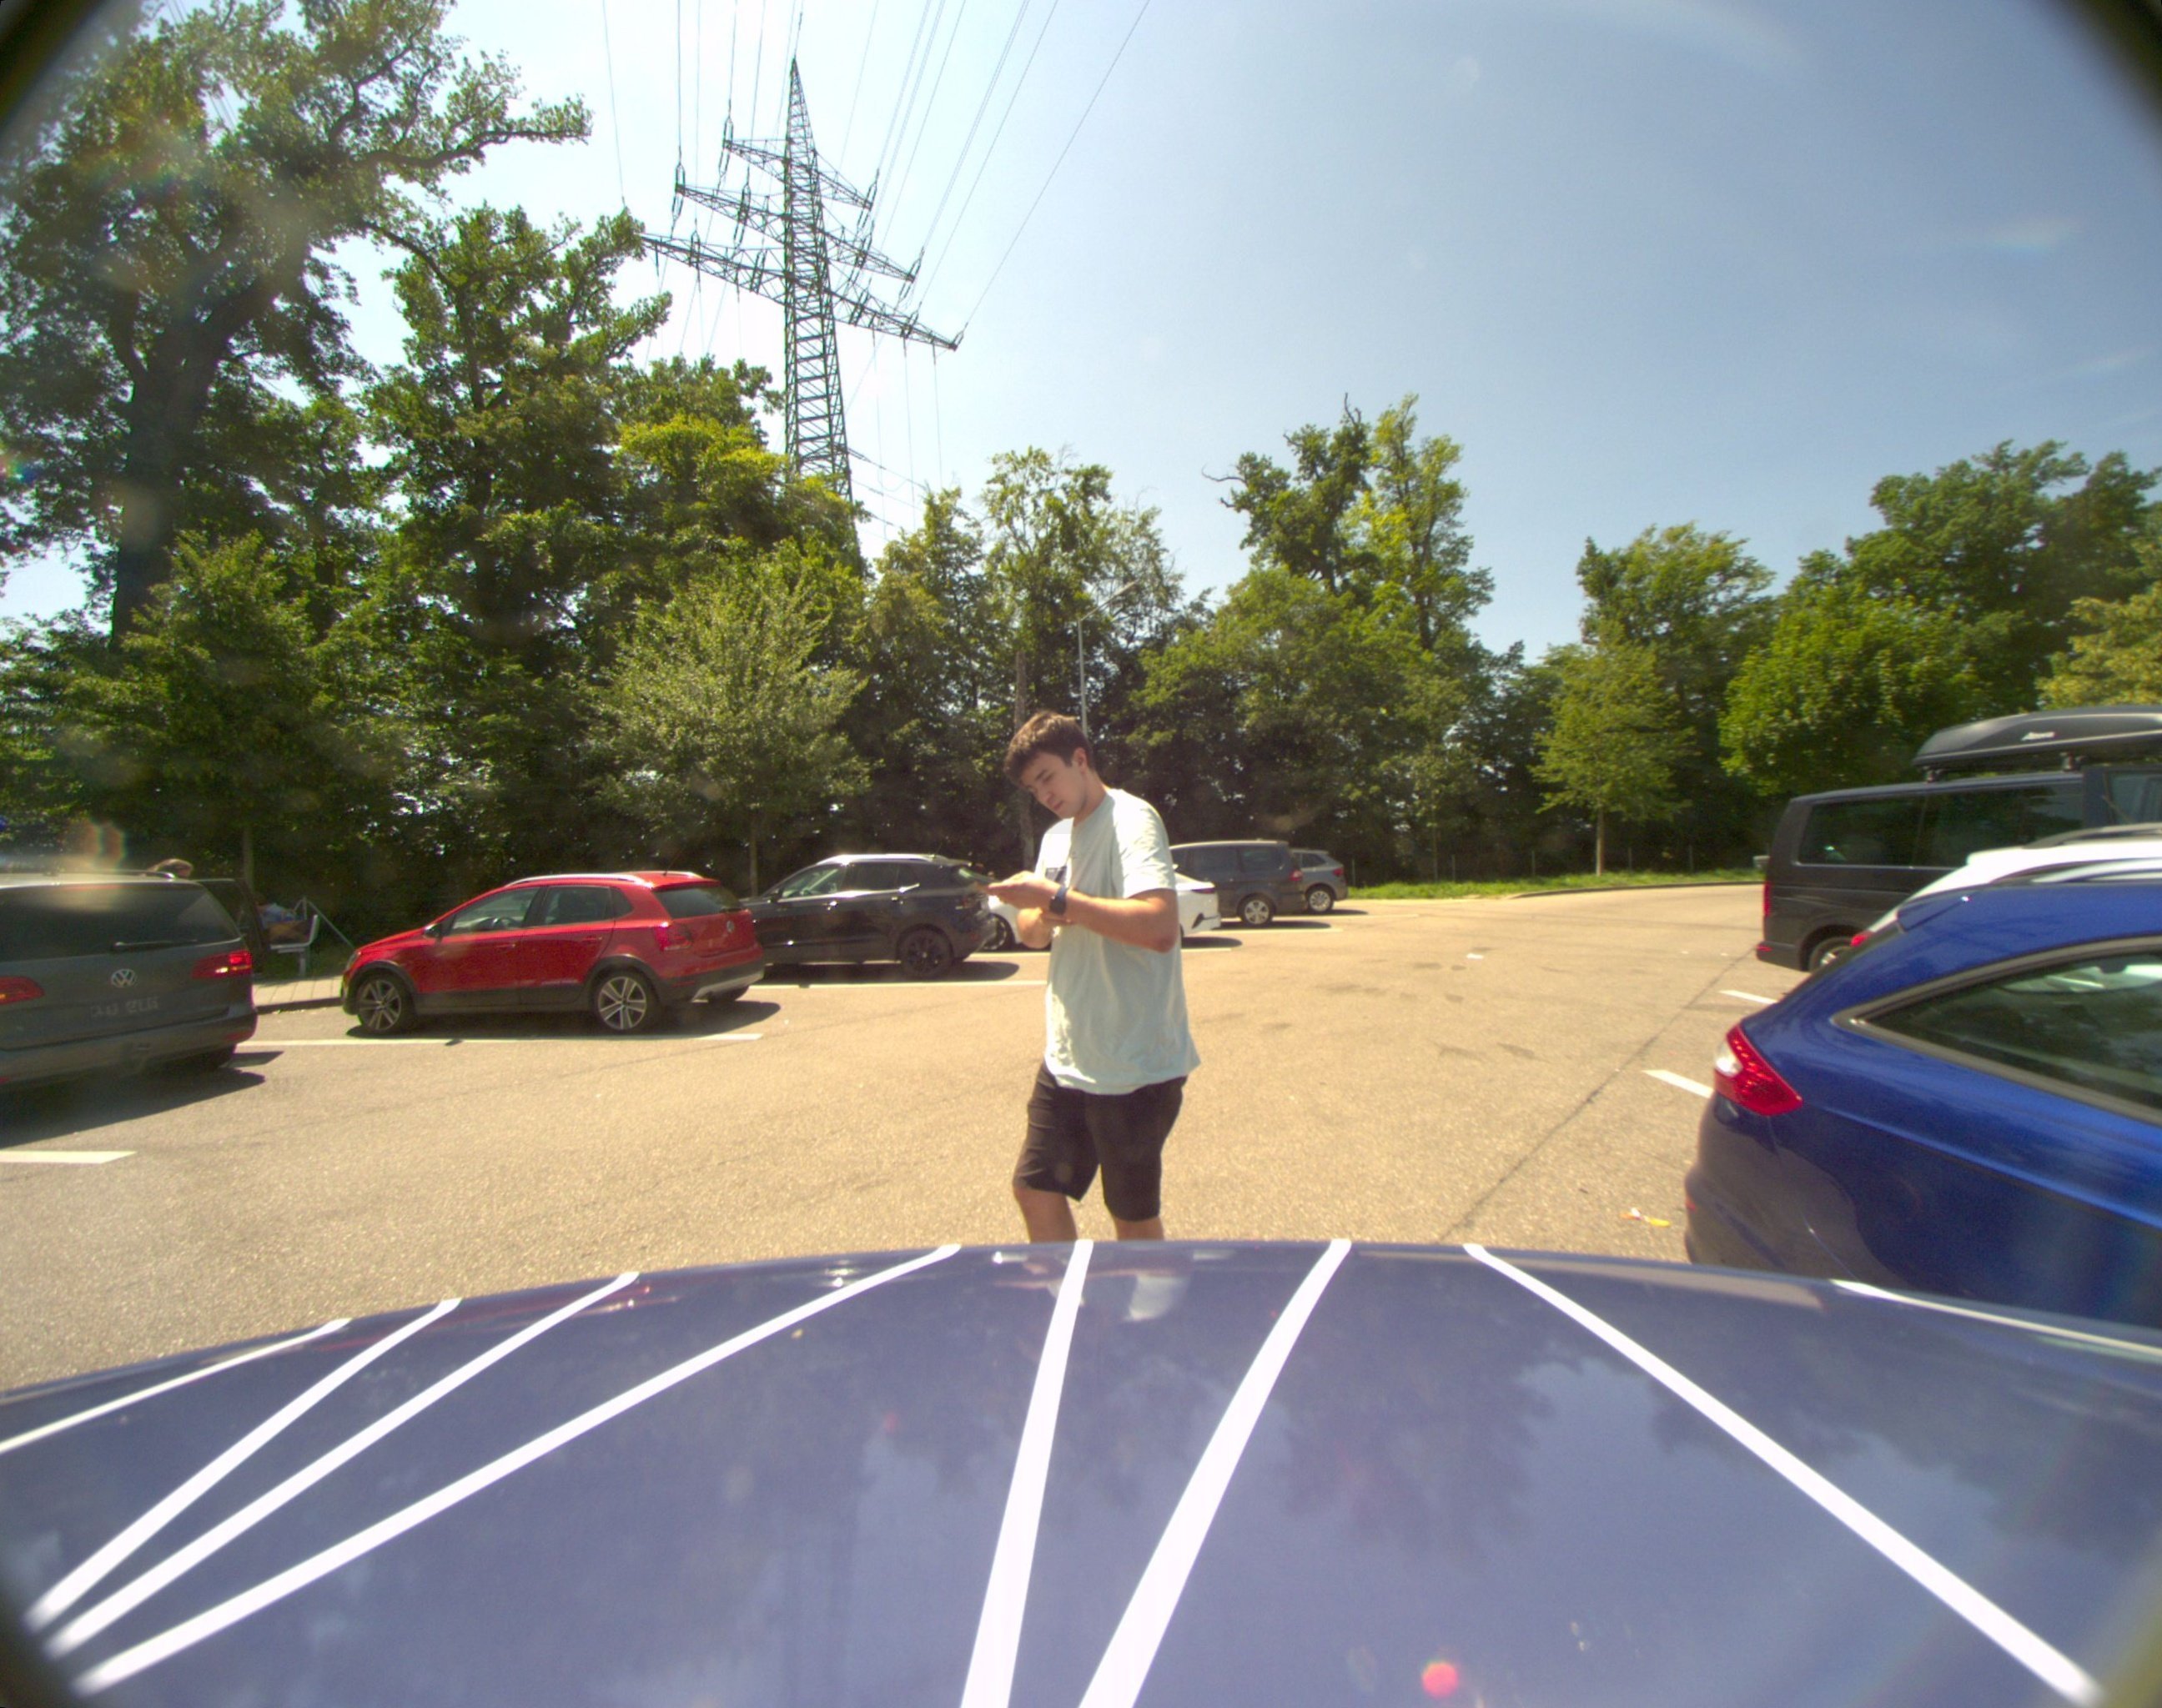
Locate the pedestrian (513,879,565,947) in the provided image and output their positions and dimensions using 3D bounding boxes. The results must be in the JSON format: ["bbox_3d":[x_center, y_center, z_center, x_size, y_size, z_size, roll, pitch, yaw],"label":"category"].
[{"bbox_3d":[-10.920,1.162,15.306,0.782,1.287,0.670,-1,2,45],"label":"pedestrian"}]

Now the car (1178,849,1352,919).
[{"bbox_3d":[4.322,0.689,18.151,3.818,1.530,1.722,-1,1,12],"label":"car"}]

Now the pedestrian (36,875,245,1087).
[{"bbox_3d":[-8.223,1.045,6.708,0.735,1.672,0.918,-3,1,-22],"label":"pedestrian"}]

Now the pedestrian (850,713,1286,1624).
[{"bbox_3d":[0.023,0.646,1.921,0.889,1.831,0.622,-2,1,14],"label":"pedestrian"}]

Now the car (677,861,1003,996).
[{"bbox_3d":[-3.084,0.936,10.257,3.787,1.564,1.721,-1,1,2],"label":"car"}]

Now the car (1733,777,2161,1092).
[{"bbox_3d":[7.303,0.436,4.910,1.961,1.858,4.642,-3,-1,-3],"label":"car"}]

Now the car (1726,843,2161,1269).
[{"bbox_3d":[4.855,0.724,2.280,1.741,1.524,4.642,-3,-1,-2],"label":"car"}]

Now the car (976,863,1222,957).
[{"bbox_3d":[0.346,0.898,12.723,3.819,1.377,1.722,-1,1,6],"label":"car"}]

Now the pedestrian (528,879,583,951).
[{"bbox_3d":[-10.029,1.137,14.508,0.782,1.287,0.670,-1,2,45],"label":"pedestrian"}]

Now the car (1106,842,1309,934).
[{"bbox_3d":[2.569,0.666,15.449,3.818,1.714,1.722,-1,1,12],"label":"car"}]

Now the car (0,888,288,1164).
[{"bbox_3d":[-8.309,1.105,5.437,3.985,1.572,1.749,-1,1,12],"label":"car"}]

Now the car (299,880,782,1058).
[{"bbox_3d":[-5.257,1.065,7.647,3.785,1.457,1.722,-1,1,9],"label":"car"}]
